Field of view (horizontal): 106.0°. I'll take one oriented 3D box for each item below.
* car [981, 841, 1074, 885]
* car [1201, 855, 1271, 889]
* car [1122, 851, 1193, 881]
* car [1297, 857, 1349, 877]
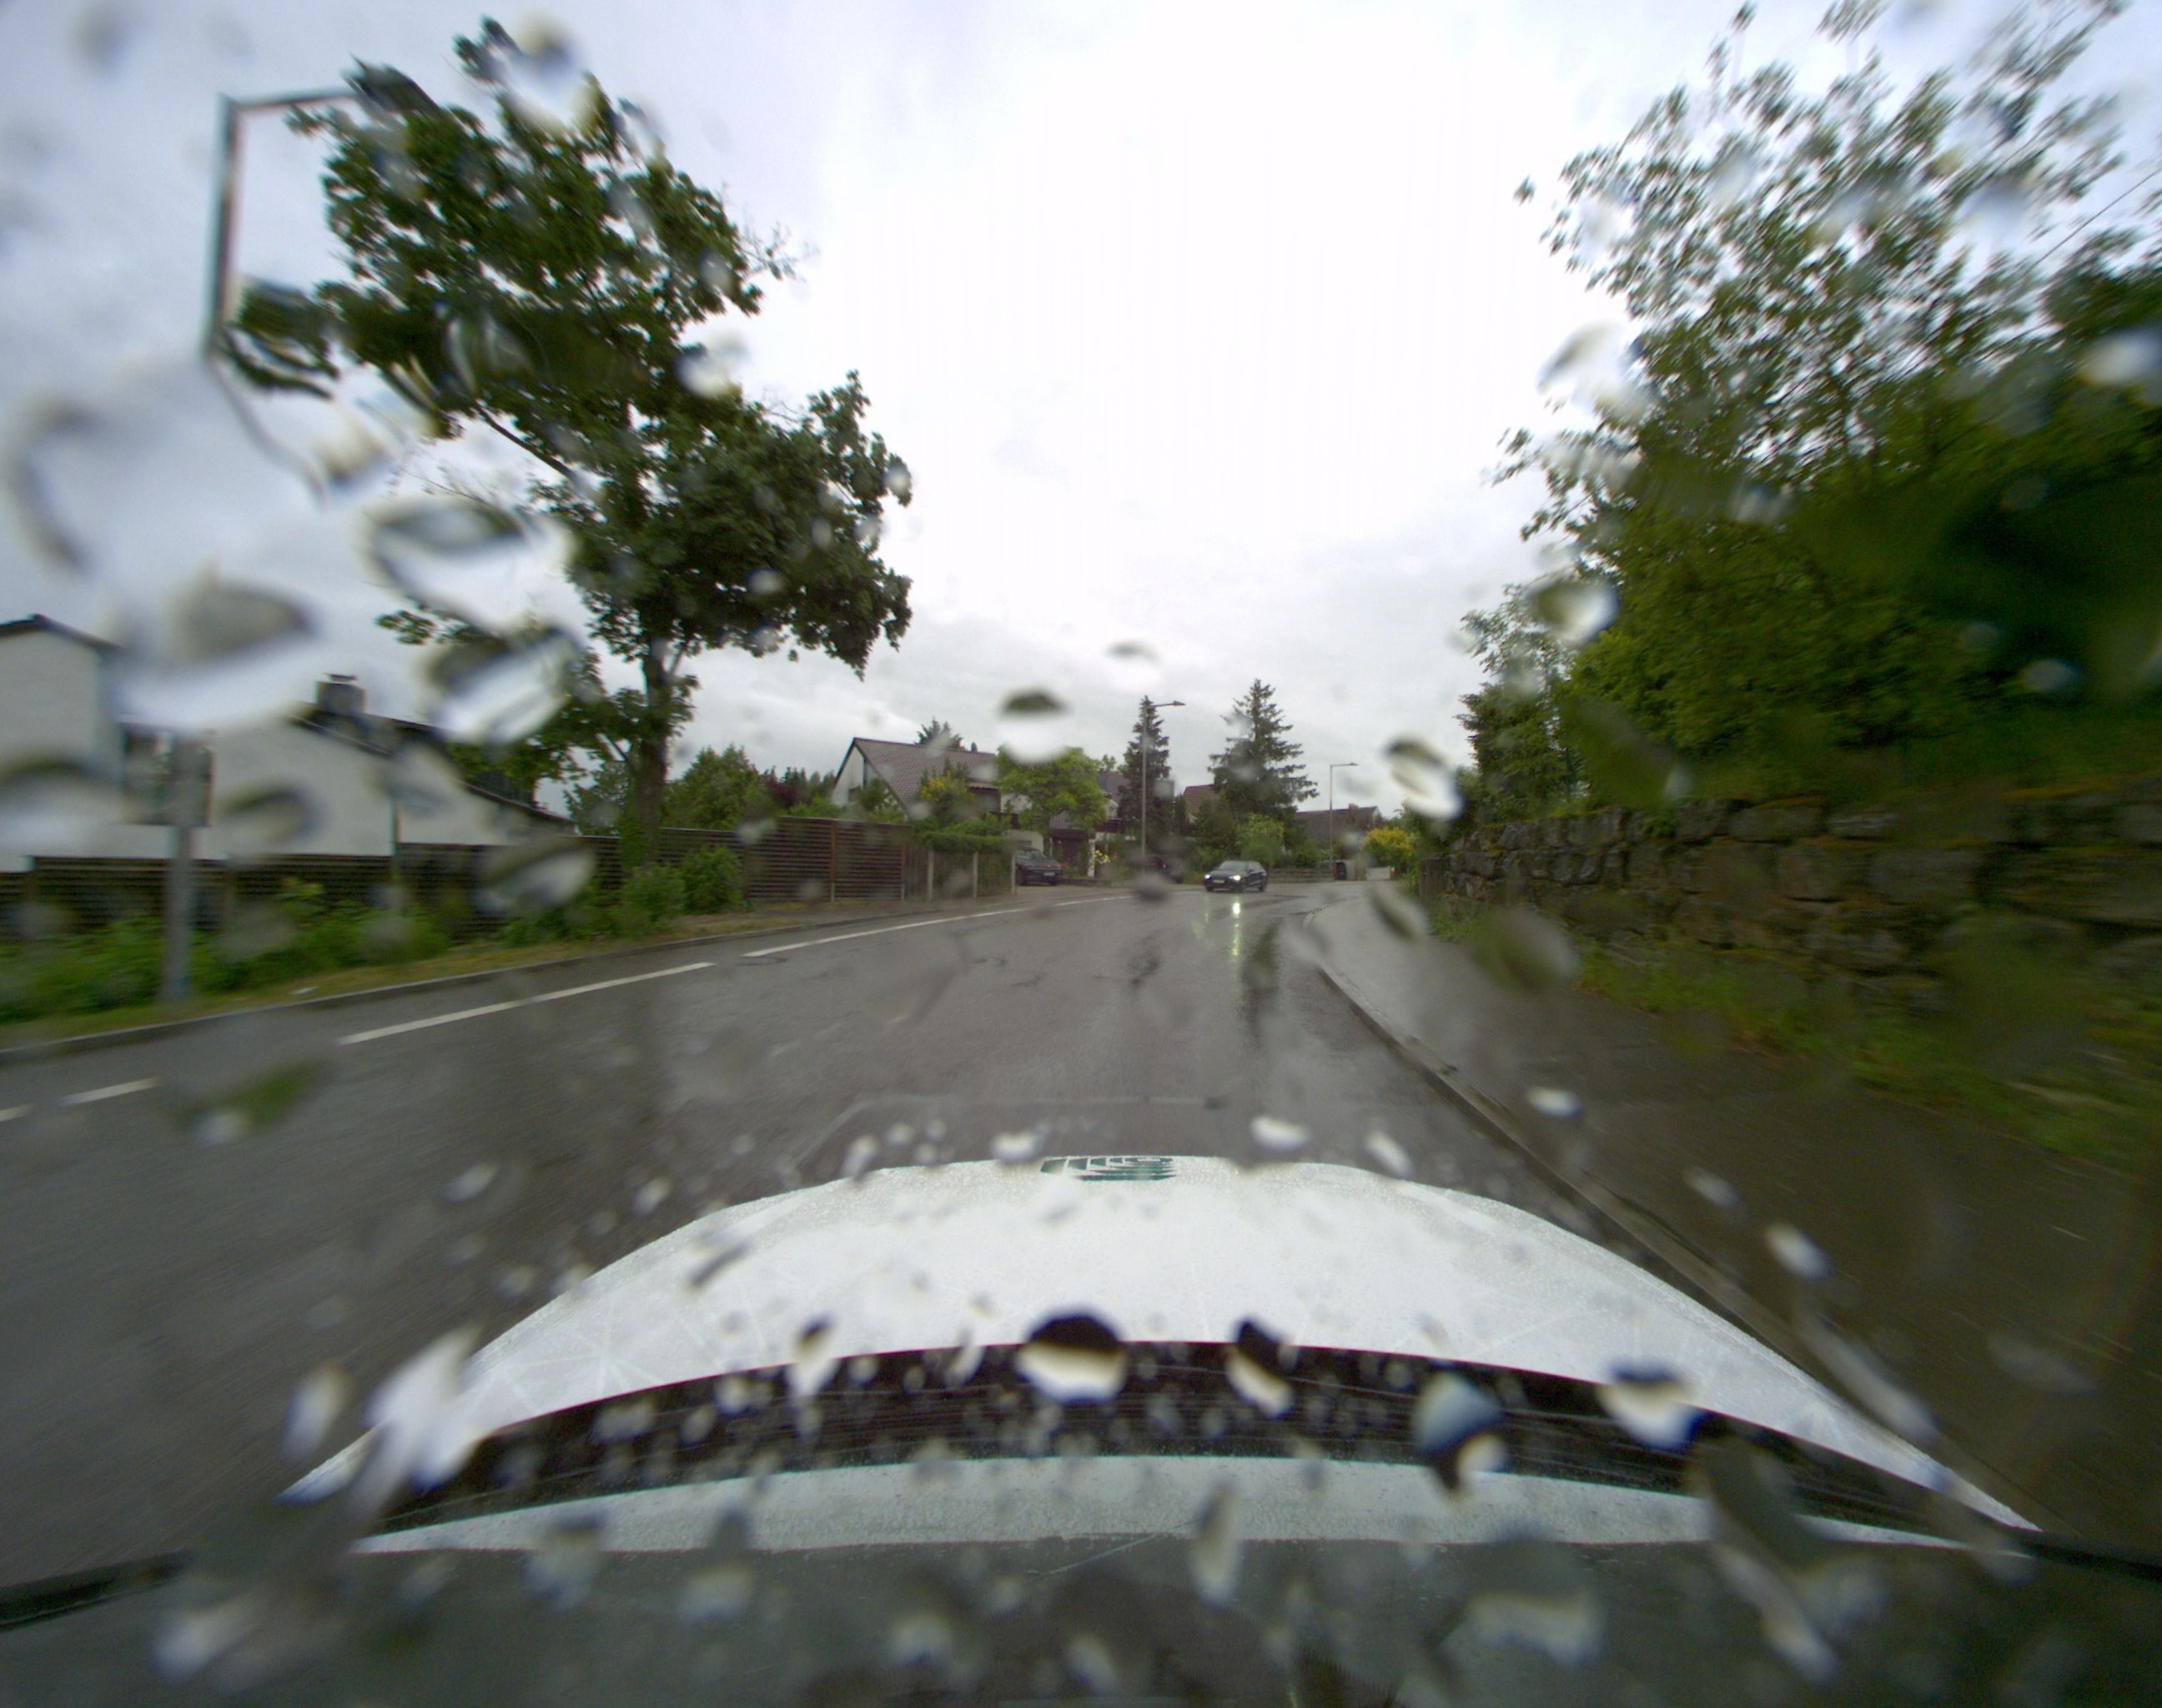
[{"bbox_3d":[-2.365,0.364,35.209,2.024,1.631,3.955,2,1,-39],"label":"car"},{"bbox_3d":[7.206,0.801,37.538,1.760,1.420,4.191,1,0,31],"label":"car"},{"bbox_3d":[3.987,0.619,43.134,1.944,1.389,3.967,3,0,-26],"label":"car"},{"bbox_3d":[21.147,1.135,71.218,2.009,1.620,3.955,1,0,-38],"label":"car"}]
